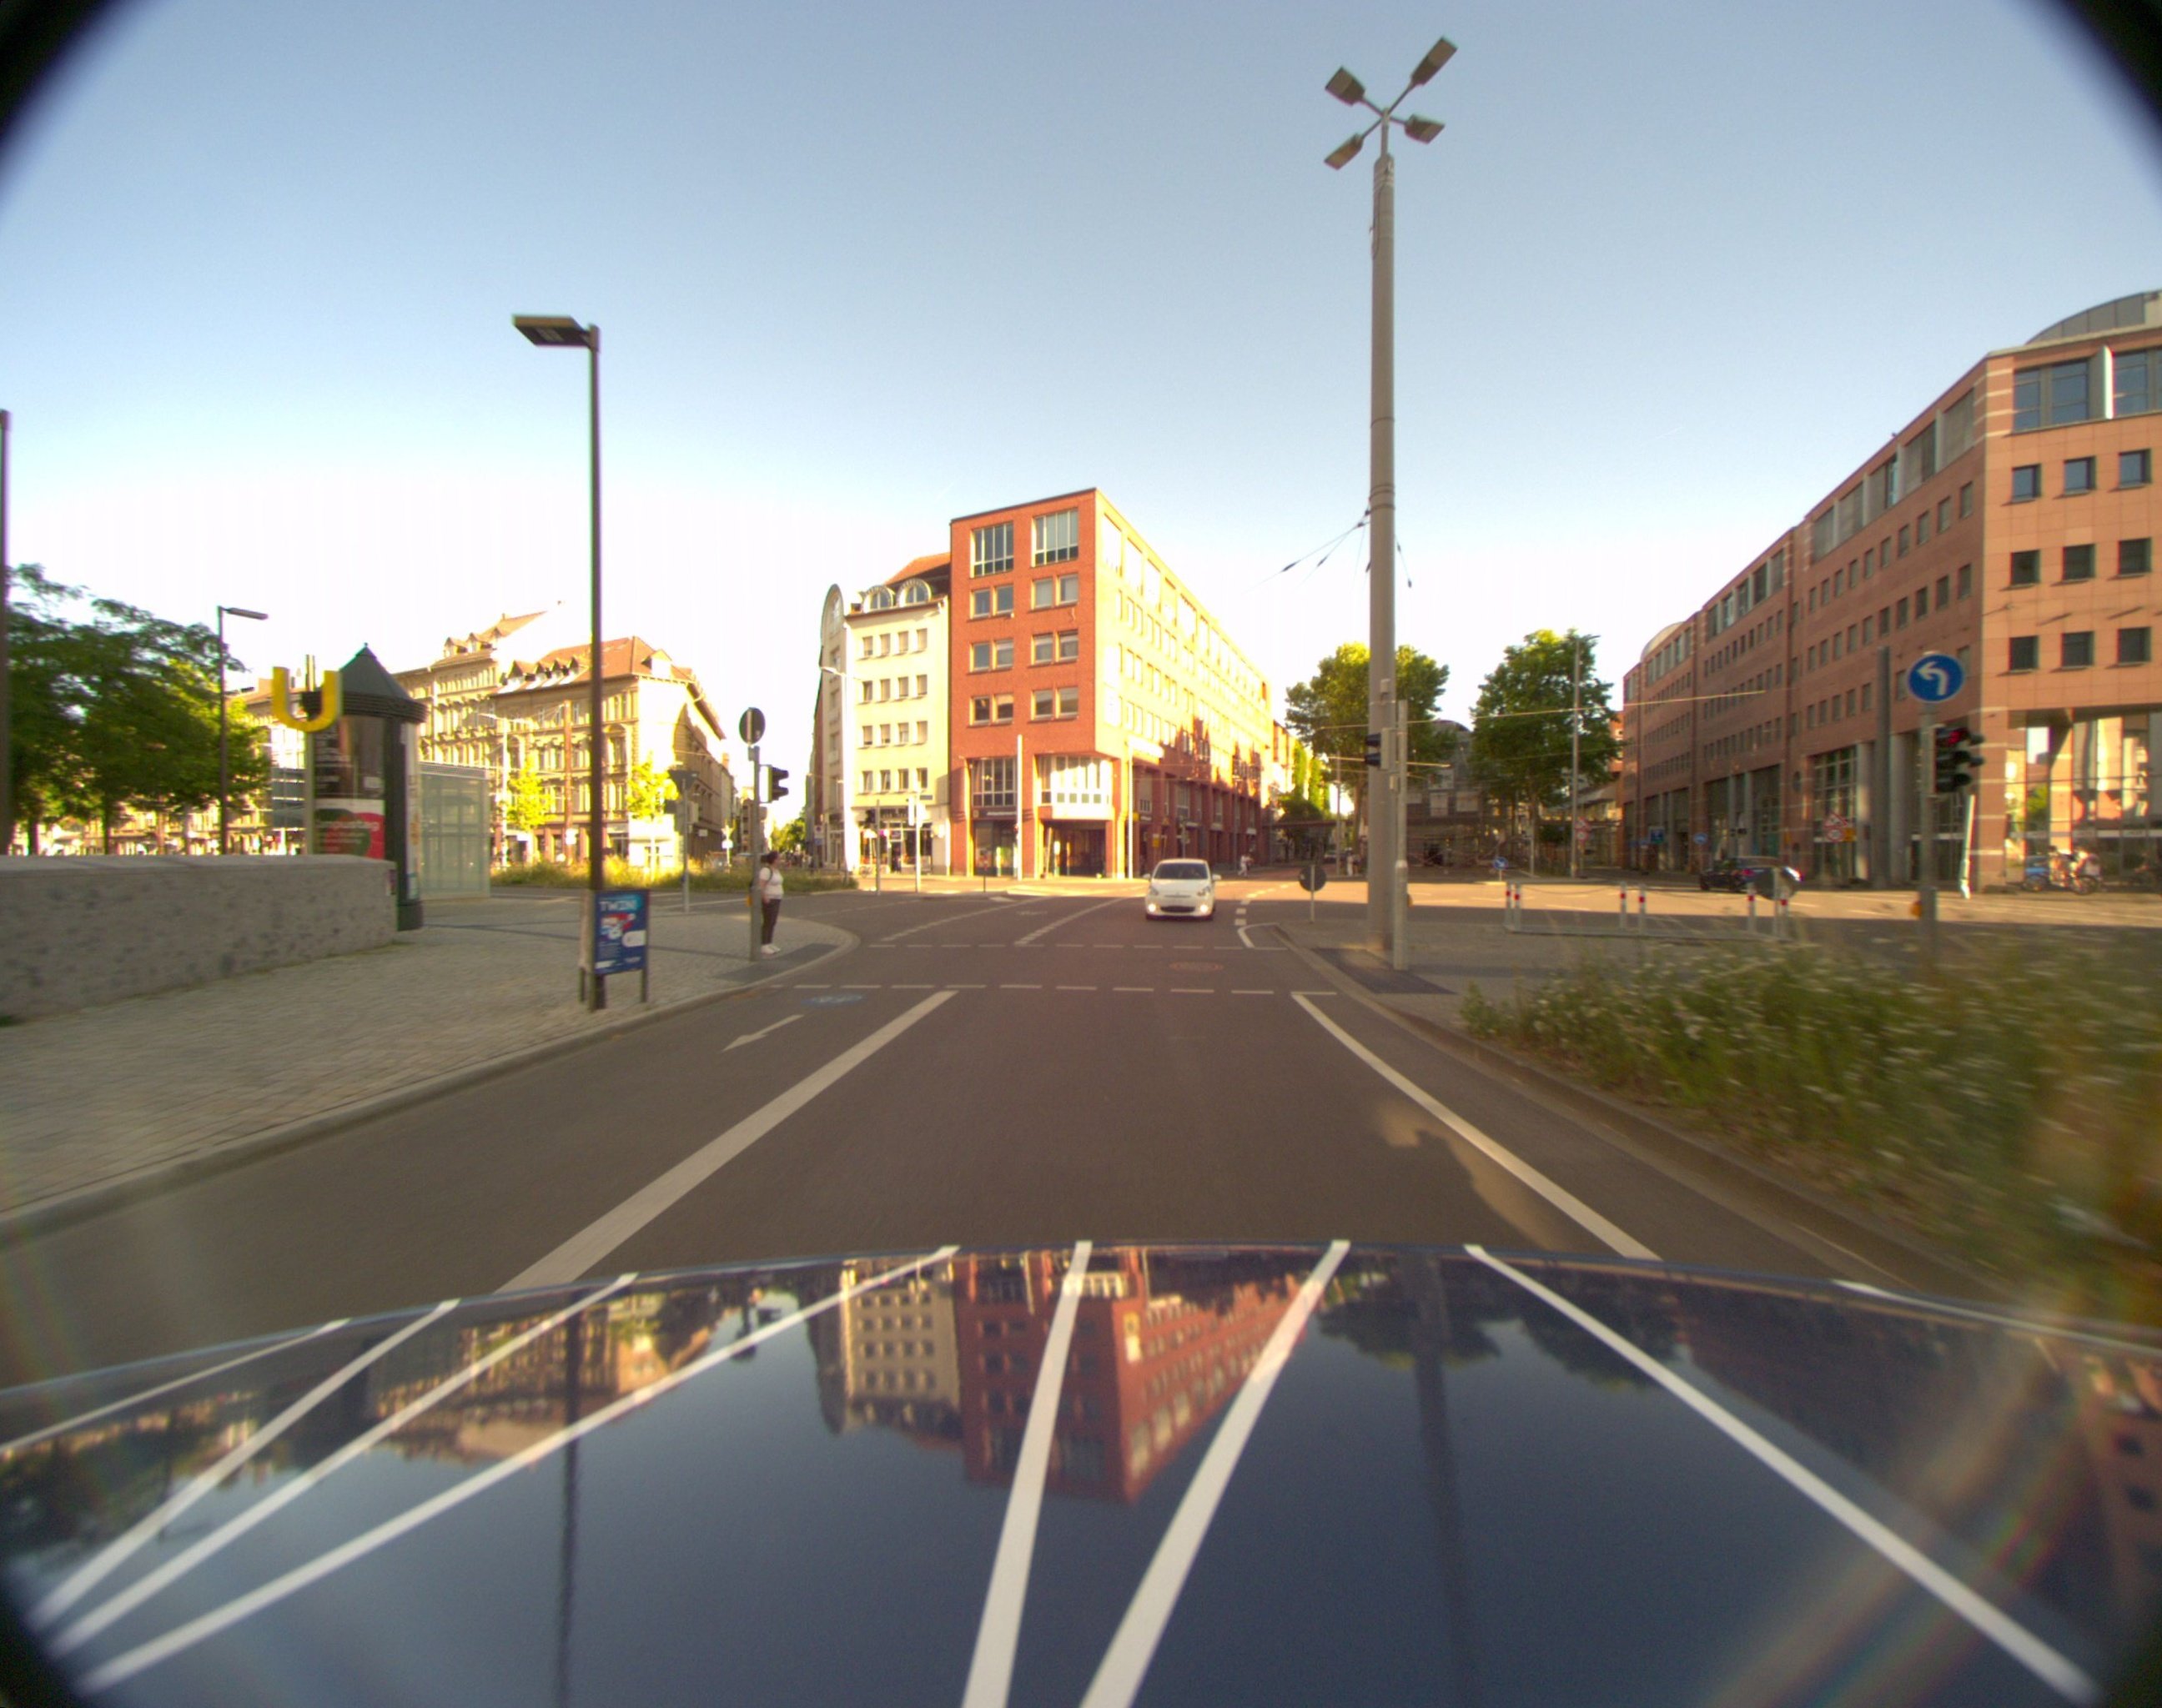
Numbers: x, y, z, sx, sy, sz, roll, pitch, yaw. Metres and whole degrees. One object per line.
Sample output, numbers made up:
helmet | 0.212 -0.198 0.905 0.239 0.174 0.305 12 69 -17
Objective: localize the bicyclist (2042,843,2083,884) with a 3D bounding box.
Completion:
bicyclist | 35.887 0.333 27.790 0.747 1.476 0.584 0 0 29

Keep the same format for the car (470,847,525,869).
car | -45.682 0.288 59.491 3.918 1.602 1.730 1 2 25

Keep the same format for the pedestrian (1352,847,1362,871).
pedestrian | 18.799 0.331 51.700 0.566 1.670 0.532 1 1 26

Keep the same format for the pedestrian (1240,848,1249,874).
pedestrian | 11.206 0.462 52.111 0.476 1.782 0.542 0 1 24

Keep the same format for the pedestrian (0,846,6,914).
pedestrian | -28.200 0.666 19.353 0.681 1.736 0.718 0 1 14

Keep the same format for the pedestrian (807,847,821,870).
pedestrian | -19.561 0.296 55.605 0.694 1.628 0.959 -2 3 -35

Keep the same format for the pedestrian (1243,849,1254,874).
pedestrian | 11.718 0.526 53.025 0.634 1.715 0.631 0 1 24

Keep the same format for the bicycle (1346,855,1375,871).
bicycle | 19.110 0.621 52.018 1.830 1.072 0.481 1 1 25

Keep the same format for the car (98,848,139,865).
car | -117.752 0.289 92.958 4.332 2.002 2.239 -2 1 27

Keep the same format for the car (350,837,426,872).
car | -61.240 -0.010 67.178 5.355 3.006 2.281 1 2 15

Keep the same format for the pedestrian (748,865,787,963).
pedestrian | -5.228 0.986 12.686 0.541 1.574 0.556 0 1 -18

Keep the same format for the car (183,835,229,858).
car | -96.357 -0.795 83.698 4.332 2.369 2.239 -2 1 27

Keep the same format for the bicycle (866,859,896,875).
bicycle | -12.346 0.787 46.803 1.861 0.985 0.460 0 3 24

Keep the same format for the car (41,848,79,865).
car | -134.683 0.344 100.256 4.332 2.002 2.239 -2 1 27

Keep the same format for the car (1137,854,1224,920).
car | 2.702 0.757 19.850 1.806 1.492 4.205 0 1 14

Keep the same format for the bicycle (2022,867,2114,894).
bicycle | 35.981 0.953 27.738 1.960 0.907 0.584 0 1 29

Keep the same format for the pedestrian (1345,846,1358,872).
pedestrian | 18.198 0.319 51.167 0.778 1.724 0.850 1 1 21

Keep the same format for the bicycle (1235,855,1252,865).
bicycle | 16.654 0.573 77.858 1.612 0.949 0.556 3 2 26

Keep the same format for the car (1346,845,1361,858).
car | 52.837 -0.560 147.254 2.116 2.550 5.915 0 1 24

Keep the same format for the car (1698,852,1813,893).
car | 25.904 0.644 29.400 1.834 1.378 4.602 1 1 21

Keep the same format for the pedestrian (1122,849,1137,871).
pedestrian | 3.502 0.405 54.888 0.846 1.580 0.753 0 1 -15

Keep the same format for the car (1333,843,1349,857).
car | 41.225 -0.662 120.304 1.920 2.067 5.178 0 1 24

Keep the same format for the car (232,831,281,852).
car | -85.392 -1.286 78.686 4.332 2.002 2.239 -2 1 27

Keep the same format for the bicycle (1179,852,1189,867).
bicycle | 8.365 0.429 61.747 0.340 1.249 1.713 1 1 26

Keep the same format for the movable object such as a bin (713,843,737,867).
movable object such as a bin | -28.352 0.081 60.529 1.651 1.773 1.399 -2 1 -24
